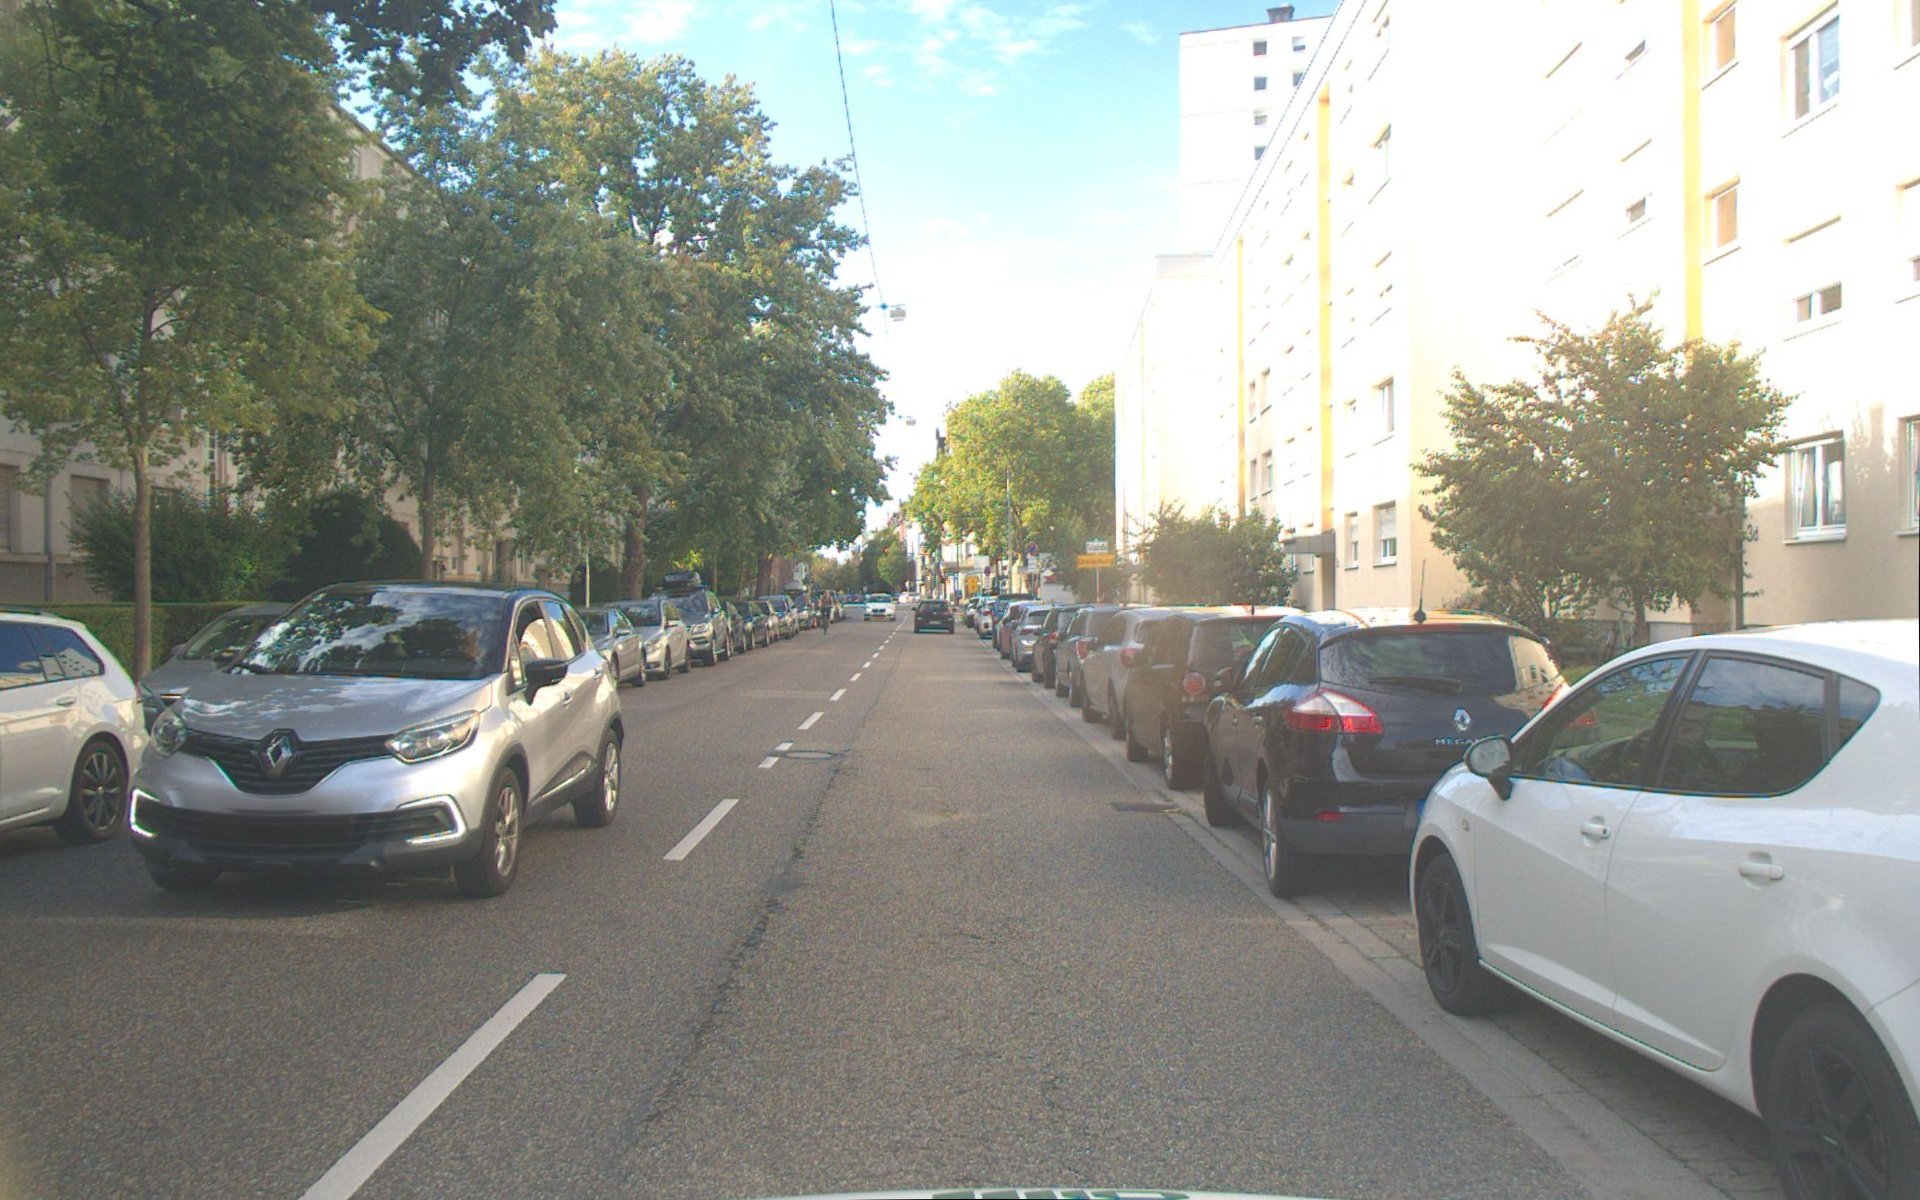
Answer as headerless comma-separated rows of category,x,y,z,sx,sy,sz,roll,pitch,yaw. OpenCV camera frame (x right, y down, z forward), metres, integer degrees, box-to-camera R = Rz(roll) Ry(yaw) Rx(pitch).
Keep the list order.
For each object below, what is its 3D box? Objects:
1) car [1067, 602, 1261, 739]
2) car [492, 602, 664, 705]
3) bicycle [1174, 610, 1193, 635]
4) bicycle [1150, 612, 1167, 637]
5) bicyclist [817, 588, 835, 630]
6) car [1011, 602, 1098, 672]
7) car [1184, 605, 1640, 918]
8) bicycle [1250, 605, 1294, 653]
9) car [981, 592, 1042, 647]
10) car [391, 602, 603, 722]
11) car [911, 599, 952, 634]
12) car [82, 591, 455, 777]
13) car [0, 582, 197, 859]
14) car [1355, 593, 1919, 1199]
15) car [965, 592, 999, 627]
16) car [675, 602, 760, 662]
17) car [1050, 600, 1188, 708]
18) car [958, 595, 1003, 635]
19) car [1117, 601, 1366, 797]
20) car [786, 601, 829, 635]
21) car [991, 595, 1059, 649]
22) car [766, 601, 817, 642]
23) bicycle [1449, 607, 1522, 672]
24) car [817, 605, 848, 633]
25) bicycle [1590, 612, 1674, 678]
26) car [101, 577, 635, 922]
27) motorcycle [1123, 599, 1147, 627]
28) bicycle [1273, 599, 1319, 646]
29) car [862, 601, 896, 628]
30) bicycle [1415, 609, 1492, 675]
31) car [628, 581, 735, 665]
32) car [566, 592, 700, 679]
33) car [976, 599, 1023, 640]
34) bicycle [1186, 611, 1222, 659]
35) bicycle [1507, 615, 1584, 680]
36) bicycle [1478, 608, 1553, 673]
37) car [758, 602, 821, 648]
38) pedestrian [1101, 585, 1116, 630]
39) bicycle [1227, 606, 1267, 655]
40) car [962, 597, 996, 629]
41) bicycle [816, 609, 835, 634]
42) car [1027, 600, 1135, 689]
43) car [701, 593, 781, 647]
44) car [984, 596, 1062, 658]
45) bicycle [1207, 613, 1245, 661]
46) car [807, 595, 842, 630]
car,2.407,0.785,20.478,1.666,1.489,4.177,-1,0,-3
car,-6.433,0.843,28.391,1.818,1.512,4.943,-3,0,-1
bicycle,8.756,0.869,64.797,0.449,0.943,1.516,-1,0,-2
bicycle,7.810,0.965,65.157,0.449,0.958,1.516,-1,0,-2
bicyclist,-5.204,0.357,64.490,0.628,1.629,0.990,-1,0,-2
car,2.082,0.809,37.382,1.628,1.441,4.057,-2,0,-1
car,2.437,0.777,9.988,1.649,1.461,4.206,-1,0,1
bicycle,8.850,0.809,47.055,0.711,1.314,2.634,-1,0,-1
car,1.628,0.623,53.679,1.694,1.678,4.115,-1,0,-2
car,-6.275,0.779,22.951,1.703,1.418,4.664,-3,0,-2
car,-1.222,0.704,71.302,1.716,1.438,3.999,1,0,-1
car,-6.475,0.698,16.125,1.818,1.512,4.681,-1,0,-3
car,-6.159,0.709,8.976,1.818,1.512,4.797,-3,0,-1
car,2.686,0.733,5.089,1.650,1.493,4.202,-1,0,-4
car,1.040,0.450,78.608,1.519,1.584,3.467,-1,0,-1
car,-6.754,0.862,46.370,1.651,1.506,4.119,-3,0,1
car,2.384,0.771,25.737,1.649,1.511,4.292,-1,0,-1
car,0.818,0.607,69.668,1.694,1.608,4.115,-1,0,-2
car,2.418,0.791,15.086,1.649,1.527,3.874,-1,0,1
car,-7.303,0.849,79.303,1.665,1.513,3.847,-2,0,0
car,1.879,0.626,48.699,1.694,1.486,4.115,-1,0,-2
car,-7.506,0.913,73.886,1.762,1.697,4.482,-2,0,0
bicycle,8.936,0.657,28.190,0.491,1.048,2.095,-3,0,-1
car,-7.955,1.162,103.276,1.763,1.648,3.801,-2,0,-3
bicycle,11.385,0.747,28.099,0.491,1.048,2.134,-3,0,0
car,-3.044,0.678,9.423,1.705,1.528,4.008,0,0,-2
motorcycle,6.904,0.522,65.196,0.618,1.063,2.393,1,0,-2
bicycle,9.558,0.629,47.137,0.711,1.314,2.634,1,0,-1
car,-4.706,0.822,96.542,1.821,1.555,4.010,0,0,0
bicycle,8.357,0.692,28.071,0.581,1.048,2.118,-3,0,-1
car,-6.574,0.522,39.564,1.839,1.824,4.968,-2,0,-2
car,-6.542,0.678,33.547,1.817,1.601,4.459,-1,0,0
car,1.503,0.725,63.823,1.693,1.514,4.641,-1,0,0
bicycle,6.925,0.977,47.007,0.592,1.314,2.634,-1,0,-1
bicycle,9.957,0.787,28.191,0.491,1.048,2.025,-3,0,-1
bicycle,9.449,0.670,28.199,0.491,1.048,2.068,-3,0,-1
car,-6.183,0.879,60.252,1.581,1.493,4.015,-4,0,3
pedestrian,5.882,0.290,65.558,0.530,1.751,0.772,-1,0,4
bicycle,8.140,0.844,47.035,0.583,1.313,2.634,-3,0,-1
car,0.979,0.629,83.938,1.655,1.555,4.238,-1,0,1
bicycle,-5.221,0.825,64.333,0.629,0.940,1.857,-1,0,-1
car,2.209,0.790,31.044,1.628,1.517,3.940,-2,0,-1
car,-6.720,0.586,51.155,1.650,1.506,4.452,-3,0,2
car,1.618,0.700,43.985,1.694,1.542,4.189,-1,0,-3
bicycle,7.549,1.037,47.040,0.592,1.313,2.634,-2,0,-1
car,-7.652,0.692,93.660,1.688,1.915,4.190,-2,0,-1
